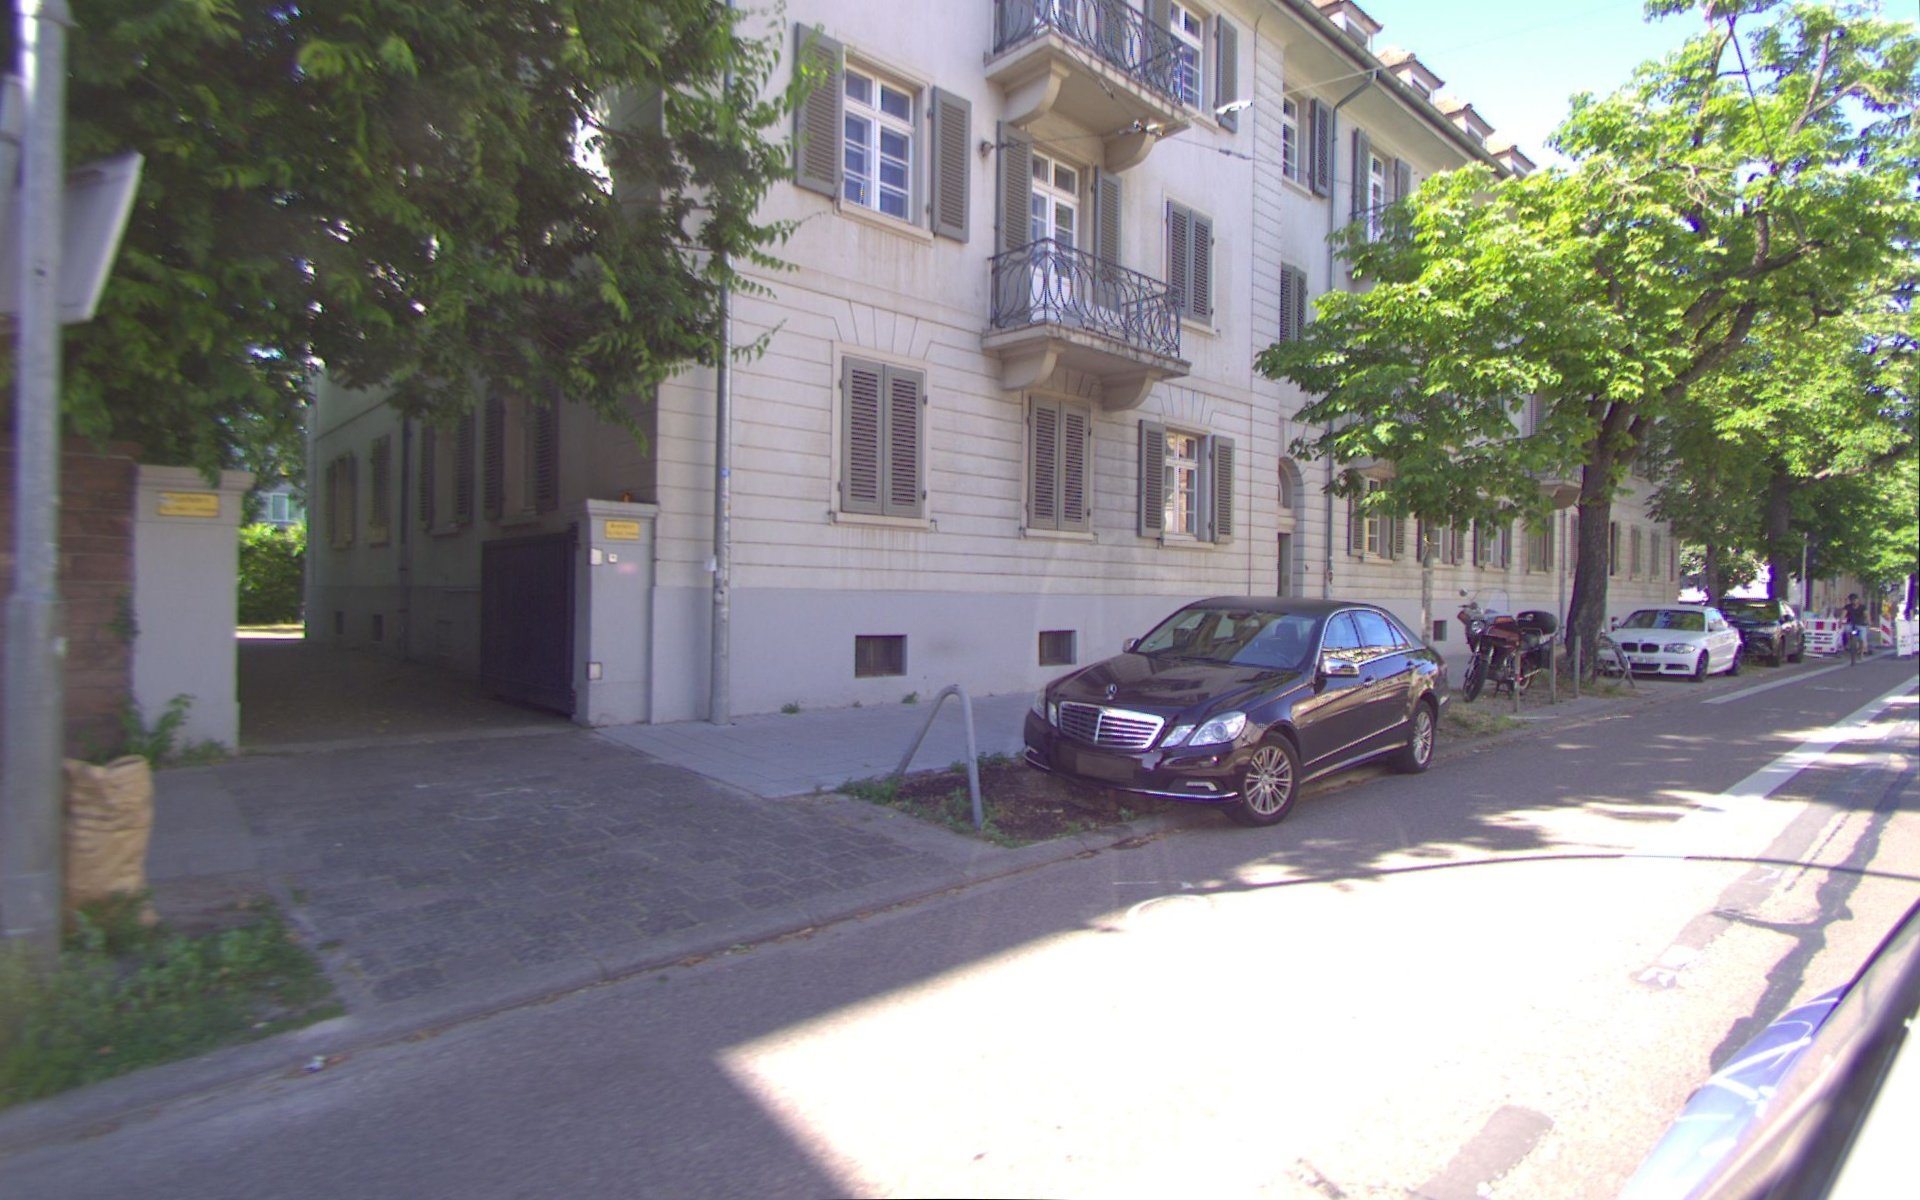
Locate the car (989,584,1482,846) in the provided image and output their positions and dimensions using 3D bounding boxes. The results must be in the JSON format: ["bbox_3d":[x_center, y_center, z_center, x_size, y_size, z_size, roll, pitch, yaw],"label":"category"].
[{"bbox_3d":[2.506,0.664,8.254,1.822,1.476,4.742,3,2,44],"label":"car"}]

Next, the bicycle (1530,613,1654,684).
[{"bbox_3d":[10.659,0.784,17.113,0.673,1.056,1.623,1,2,-41],"label":"bicycle"}]

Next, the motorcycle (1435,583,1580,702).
[{"bbox_3d":[7.790,0.549,14.334,2.633,1.507,0.915,0,2,-41],"label":"motorcycle"}]

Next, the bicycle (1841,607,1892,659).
[{"bbox_3d":[22.894,0.814,25.540,2.060,1.258,0.762,0,-1,-43],"label":"bicycle"}]

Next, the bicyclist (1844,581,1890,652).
[{"bbox_3d":[22.949,0.419,25.603,1.029,1.761,0.762,1,-1,-43],"label":"bicyclist"}]

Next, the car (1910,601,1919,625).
[{"bbox_3d":[62.264,0.873,64.817,4.142,1.490,1.704,0,1,-42],"label":"car"}]

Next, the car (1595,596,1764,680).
[{"bbox_3d":[14.170,0.672,19.840,4.279,1.399,1.727,0,2,-41],"label":"car"}]

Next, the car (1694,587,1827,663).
[{"bbox_3d":[19.856,0.558,25.033,4.505,1.646,1.814,0,3,-42],"label":"car"}]
